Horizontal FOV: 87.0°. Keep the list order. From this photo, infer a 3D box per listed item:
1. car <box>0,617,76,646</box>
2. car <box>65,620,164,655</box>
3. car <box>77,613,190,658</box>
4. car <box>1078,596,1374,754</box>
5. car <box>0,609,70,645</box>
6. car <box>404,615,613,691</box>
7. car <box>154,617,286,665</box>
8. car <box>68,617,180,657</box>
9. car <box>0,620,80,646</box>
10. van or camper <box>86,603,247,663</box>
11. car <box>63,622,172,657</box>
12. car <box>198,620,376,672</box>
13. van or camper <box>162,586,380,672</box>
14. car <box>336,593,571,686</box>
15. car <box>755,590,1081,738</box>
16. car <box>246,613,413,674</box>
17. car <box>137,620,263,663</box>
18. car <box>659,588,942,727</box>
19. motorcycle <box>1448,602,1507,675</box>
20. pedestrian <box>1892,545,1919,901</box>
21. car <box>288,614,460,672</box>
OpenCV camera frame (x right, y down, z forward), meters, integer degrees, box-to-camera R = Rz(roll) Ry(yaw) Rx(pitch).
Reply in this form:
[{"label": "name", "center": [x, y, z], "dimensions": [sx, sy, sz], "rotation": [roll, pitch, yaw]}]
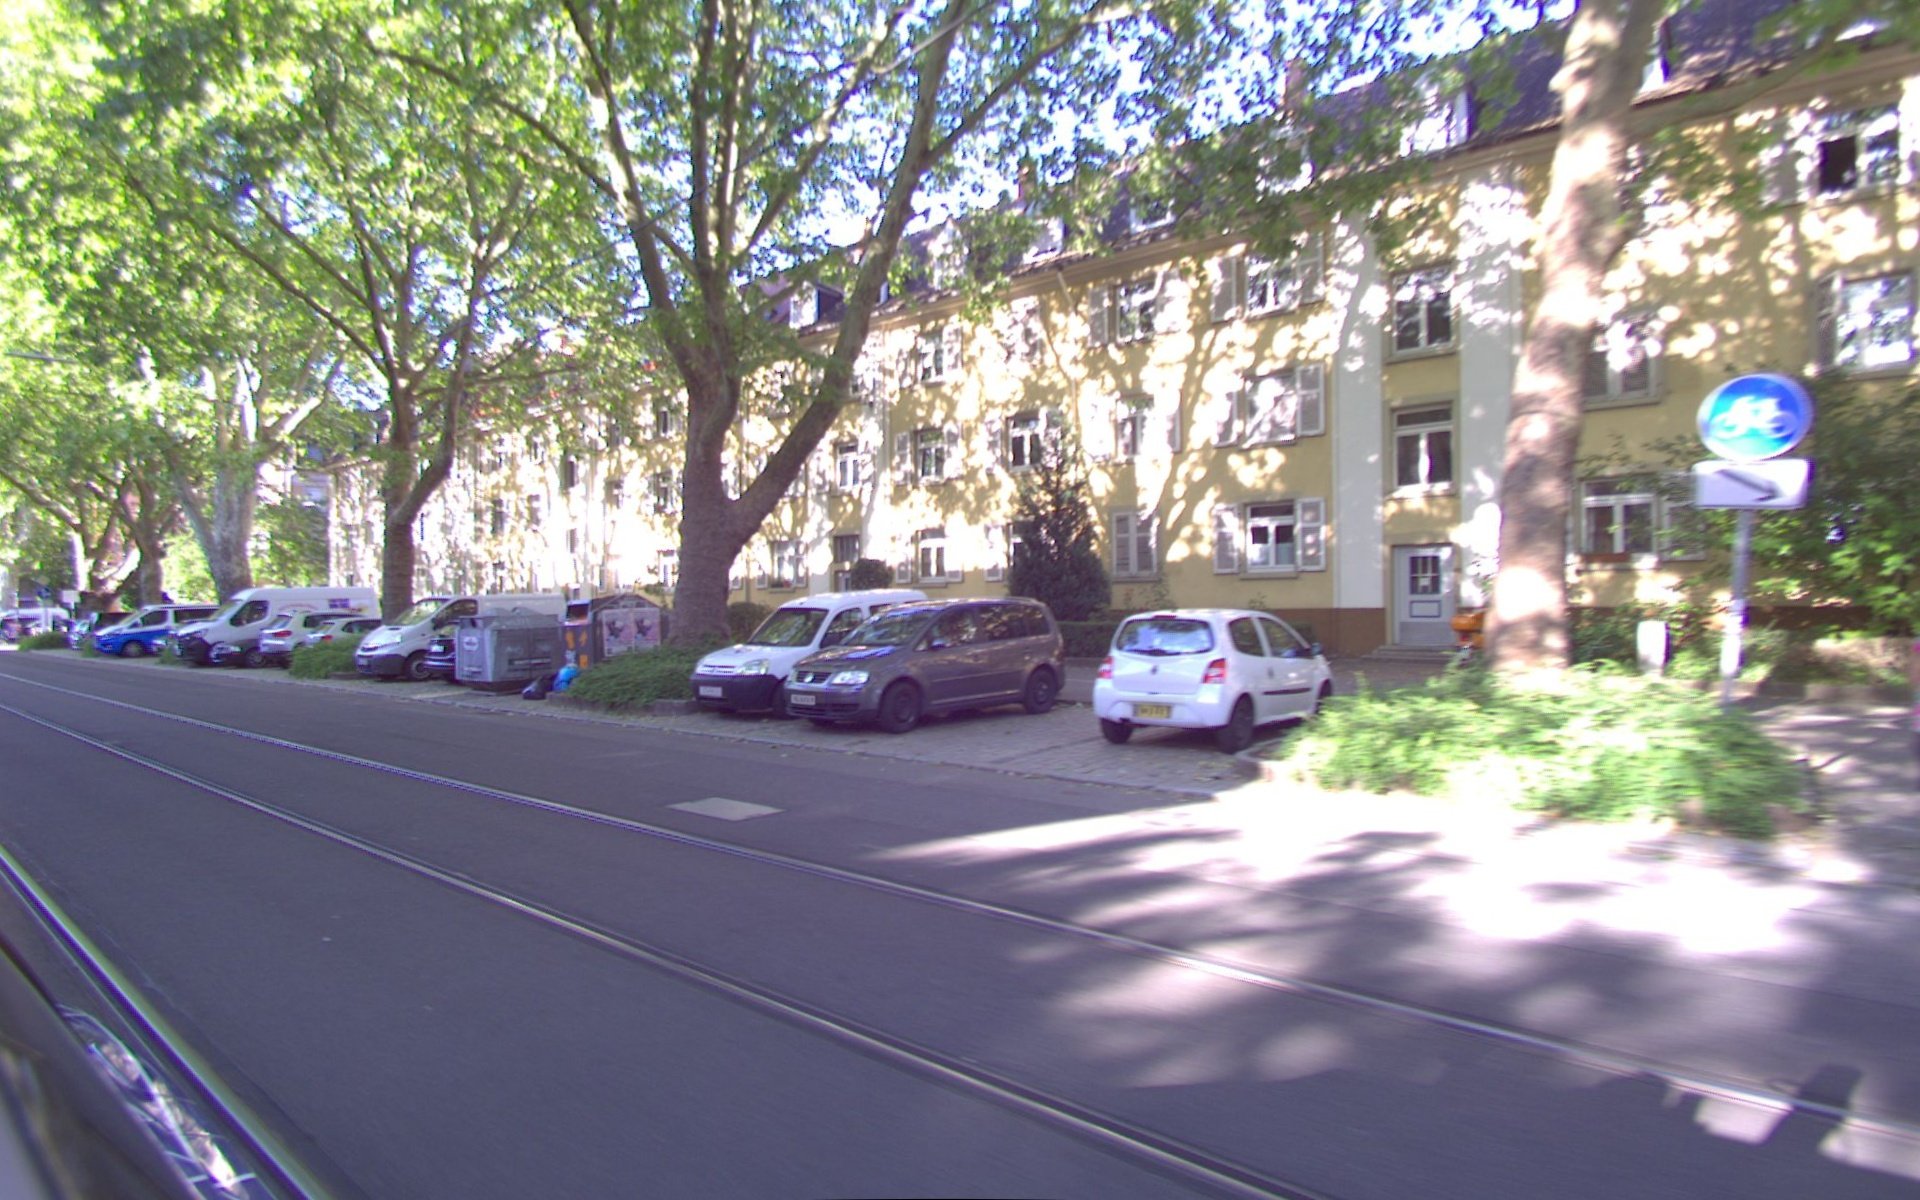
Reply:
[{"label": "car", "center": [-61.817, 2.070, 67.170], "dimensions": [2.026, 1.779, 4.409], "rotation": [-2, -1, 39]}, {"label": "car", "center": [-41.666, 1.805, 49.927], "dimensions": [3.639, 1.565, 1.705], "rotation": [-1, 0, -44]}, {"label": "car", "center": [-36.729, 1.538, 45.027], "dimensions": [1.703, 1.828, 3.645], "rotation": [-1, 0, 40]}, {"label": "car", "center": [3.218, 0.745, 11.774], "dimensions": [1.861, 1.509, 3.807], "rotation": [-1, -1, 41]}, {"label": "car", "center": [-66.119, 1.934, 71.177], "dimensions": [2.026, 2.415, 4.957], "rotation": [-2, -1, 39]}, {"label": "car", "center": [-9.859, 1.096, 22.299], "dimensions": [1.861, 1.509, 3.807], "rotation": [-1, -1, 41]}, {"label": "car", "center": [-27.030, 1.451, 37.052], "dimensions": [1.612, 1.577, 3.643], "rotation": [-1, 0, 42]}, {"label": "car", "center": [-38.459, 1.672, 46.616], "dimensions": [1.795, 1.636, 3.650], "rotation": [-1, 0, 35]}, {"label": "car", "center": [-59.824, 2.154, 65.417], "dimensions": [1.923, 1.527, 4.119], "rotation": [-2, -1, 39]}, {"label": "van or camper", "center": [-31.908, 1.267, 40.795], "dimensions": [2.117, 2.206, 4.772], "rotation": [-1, 0, 39]}, {"label": "car", "center": [-39.998, 1.860, 48.111], "dimensions": [1.697, 1.497, 3.652], "rotation": [-1, 0, 34]}, {"label": "car", "center": [-20.376, 1.349, 30.776], "dimensions": [1.752, 1.409, 4.220], "rotation": [-1, -1, 41]}, {"label": "van or camper", "center": [-22.145, 0.838, 32.724], "dimensions": [2.443, 2.535, 5.335], "rotation": [-1, 0, 40]}, {"label": "car", "center": [-11.921, 0.850, 24.108], "dimensions": [1.958, 1.960, 4.614], "rotation": [-1, 0, 37]}, {"label": "car", "center": [-0.457, 0.761, 13.780], "dimensions": [4.184, 1.701, 1.935], "rotation": [0, -1, -43]}, {"label": "car", "center": [-18.448, 1.221, 29.736], "dimensions": [1.861, 1.675, 3.807], "rotation": [-1, -1, 41]}, {"label": "car", "center": [-28.939, 1.552, 38.629], "dimensions": [1.692, 1.471, 3.501], "rotation": [-1, 0, 34]}, {"label": "car", "center": [-2.248, 0.734, 15.233], "dimensions": [1.737, 1.771, 4.159], "rotation": [-1, 0, 37]}, {"label": "motorcycle", "center": [9.369, 0.673, 18.305], "dimensions": [0.522, 1.250, 1.691], "rotation": [-1, -1, 42]}, {"label": "pedestrian", "center": [5.253, 0.599, 5.077], "dimensions": [0.796, 1.758, 0.813], "rotation": [-1, 1, 40]}, {"label": "car", "center": [-16.447, 1.157, 28.532], "dimensions": [1.861, 1.509, 3.807], "rotation": [-1, -1, 41]}]
